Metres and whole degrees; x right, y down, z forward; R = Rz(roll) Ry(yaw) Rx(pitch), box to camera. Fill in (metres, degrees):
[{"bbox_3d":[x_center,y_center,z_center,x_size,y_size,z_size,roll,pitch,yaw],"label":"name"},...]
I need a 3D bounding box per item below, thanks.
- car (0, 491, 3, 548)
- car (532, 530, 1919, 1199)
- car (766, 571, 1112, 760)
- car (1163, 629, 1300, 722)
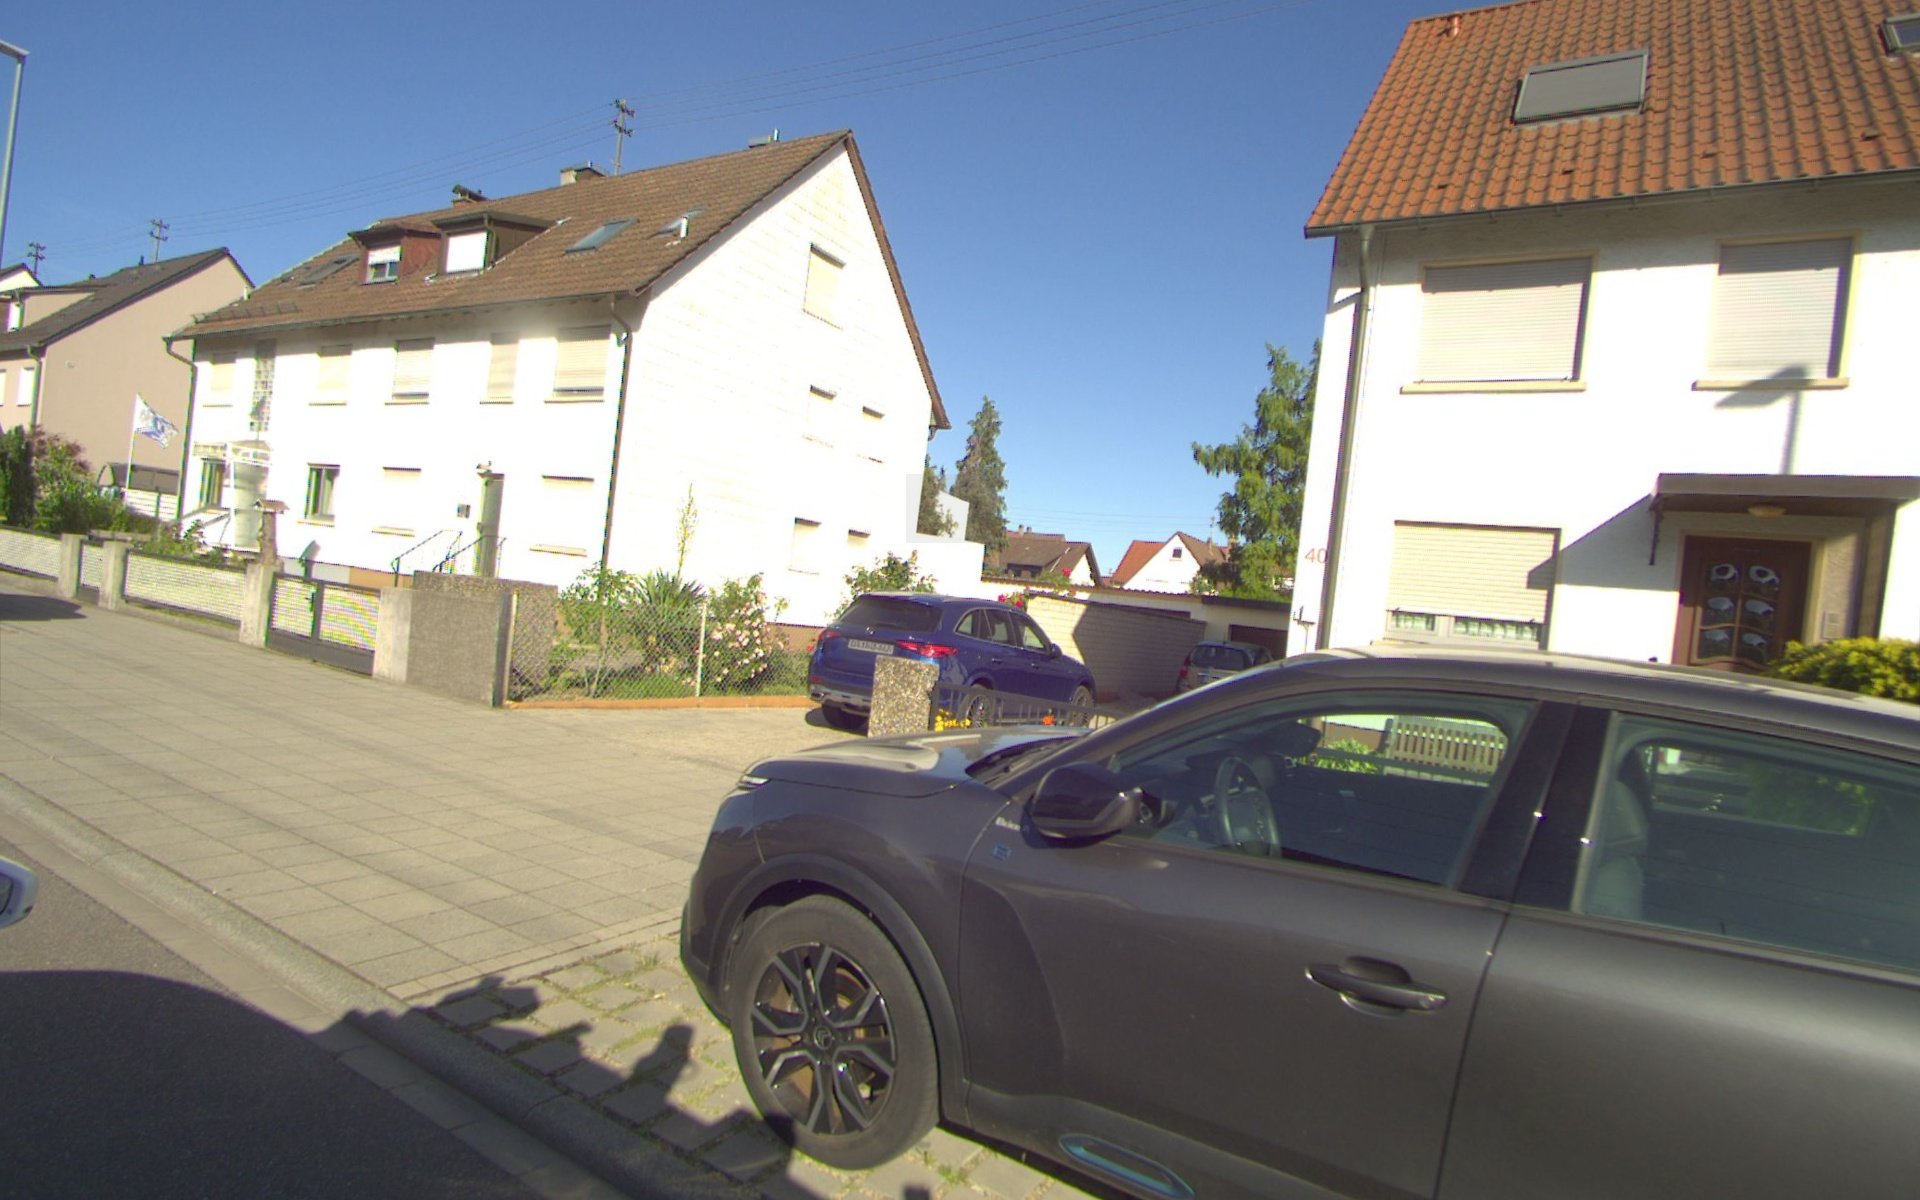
[{"bbox_3d":[-12.989,-0.726,11.426,5.522,1.462,1.853,7,2,33],"label":"car"},{"bbox_3d":[1.142,0.826,2.648,4.651,1.517,1.779,7,0,33],"label":"car"},{"bbox_3d":[-0.013,0.795,12.198,2.159,1.674,4.424,6,-1,29],"label":"car"},{"bbox_3d":[6.013,1.643,21.984,1.783,1.638,3.818,7,0,31],"label":"car"}]
